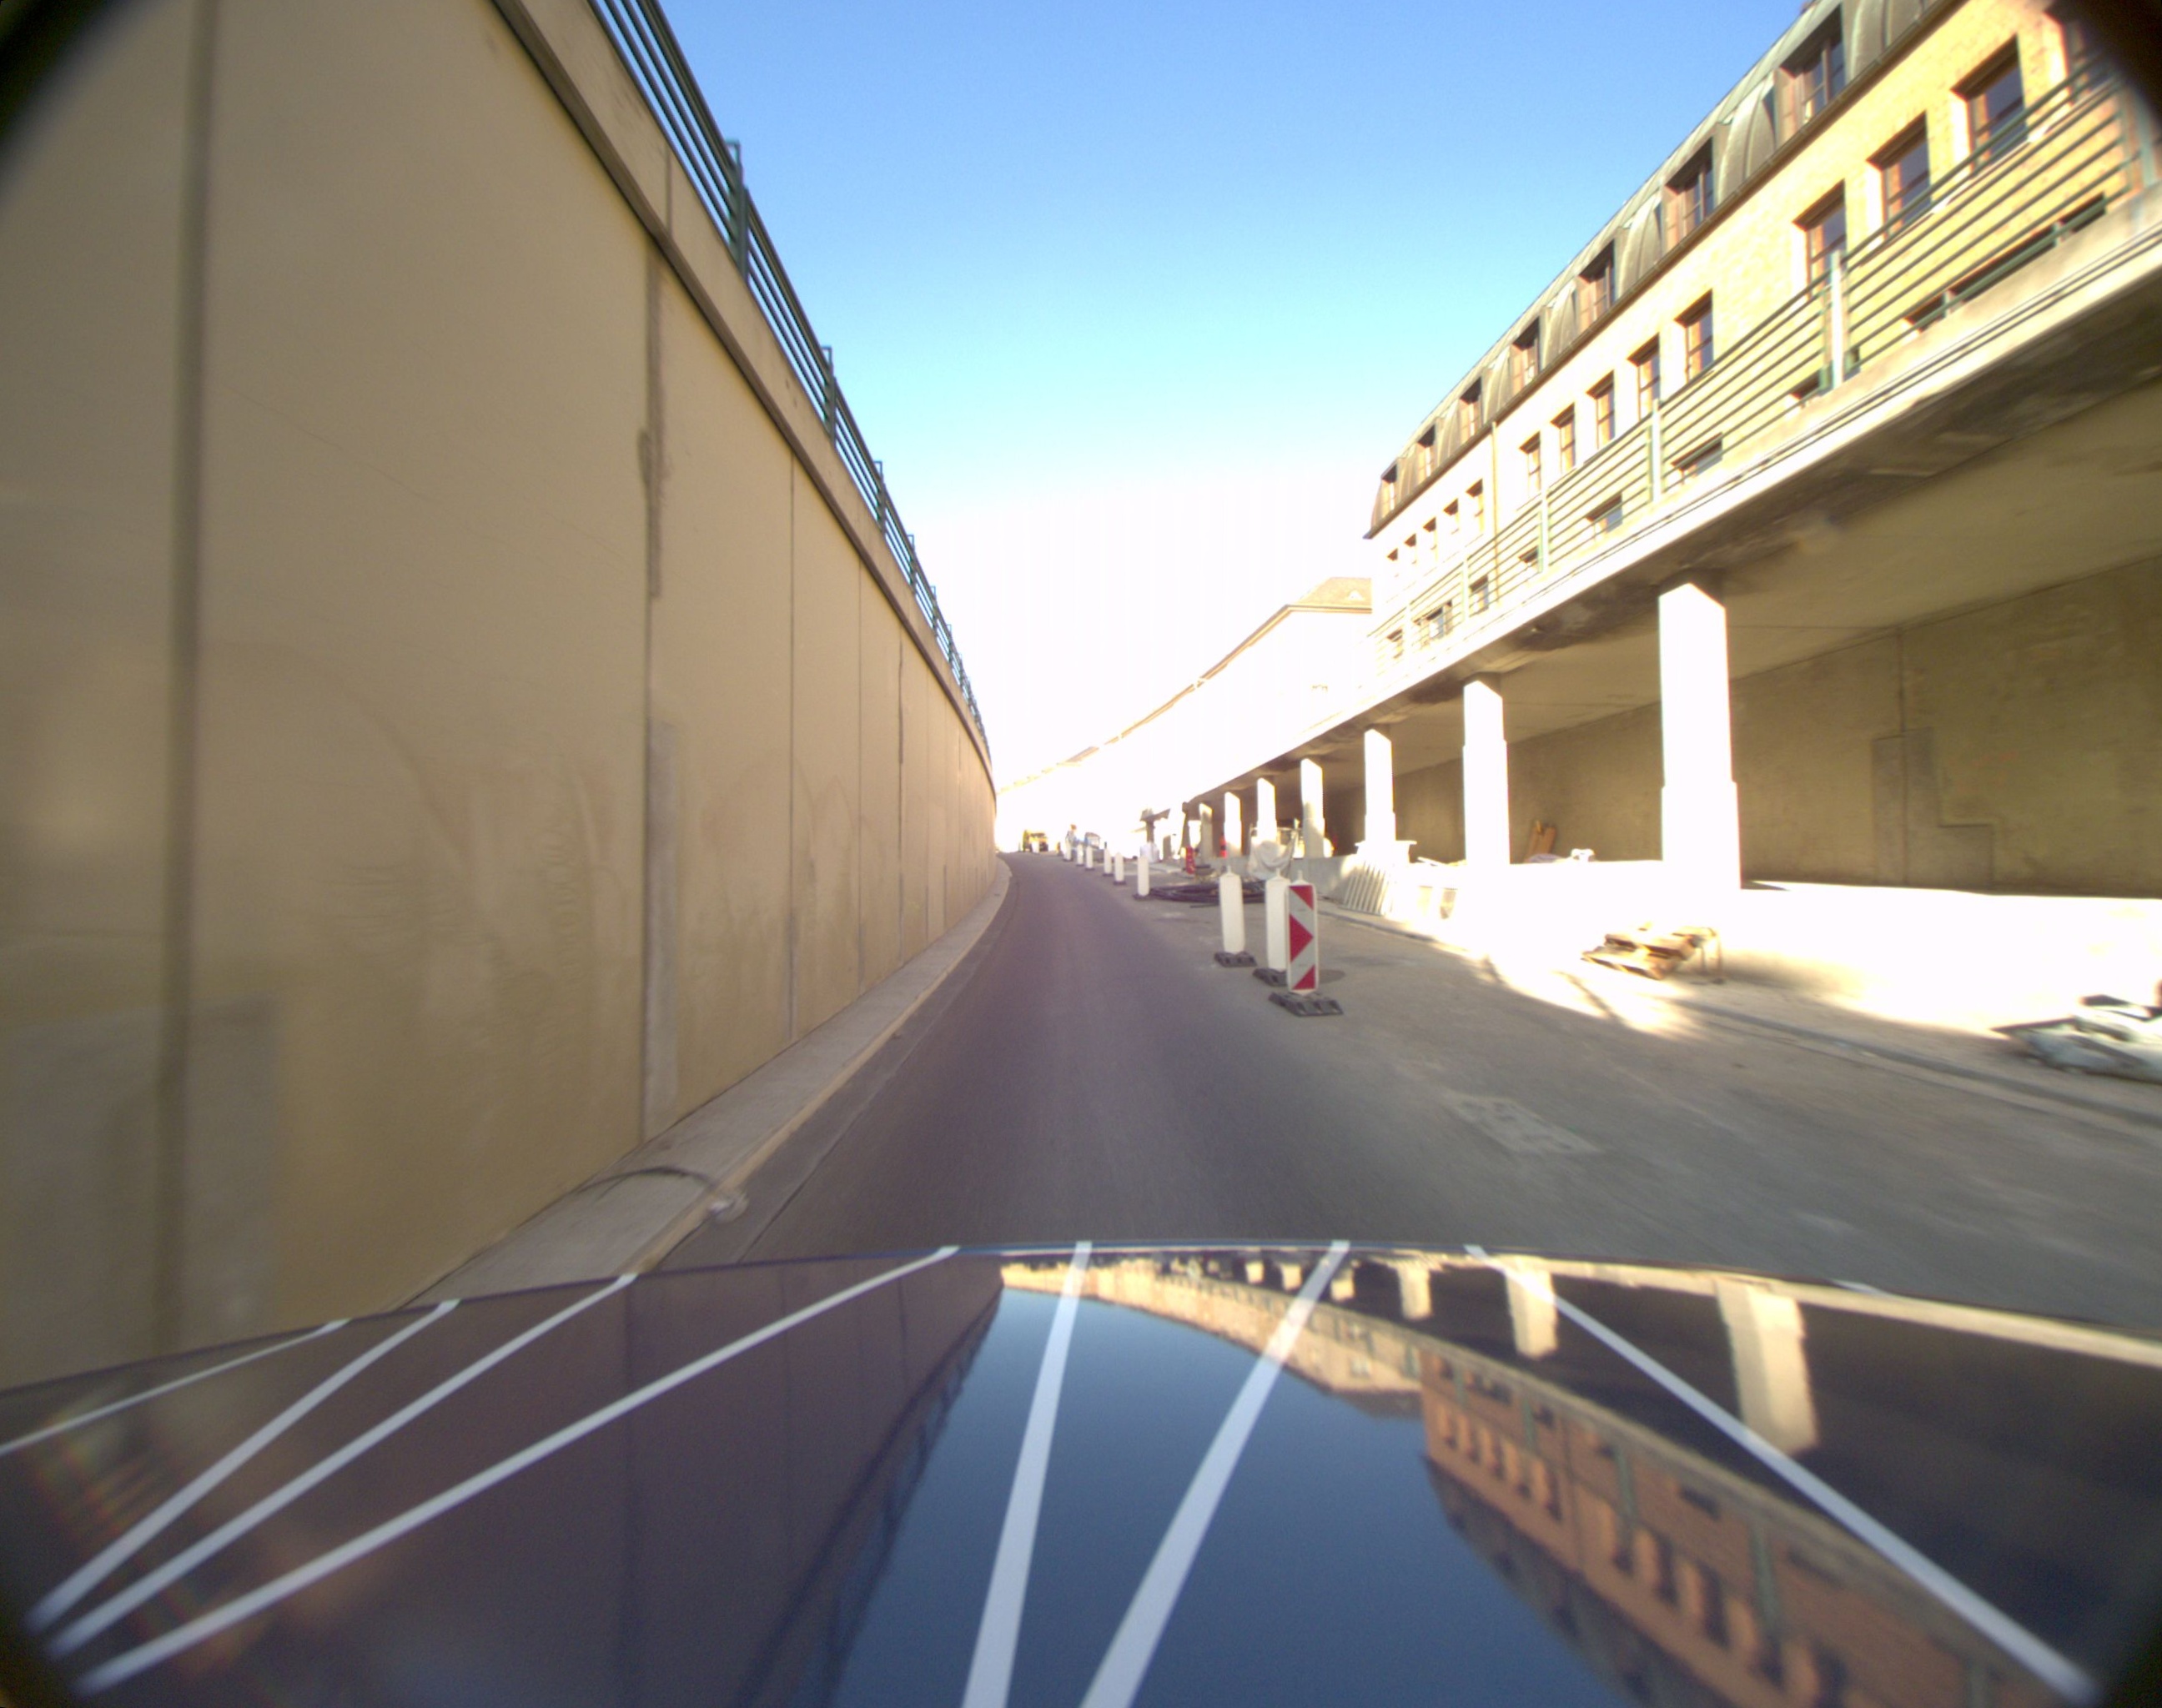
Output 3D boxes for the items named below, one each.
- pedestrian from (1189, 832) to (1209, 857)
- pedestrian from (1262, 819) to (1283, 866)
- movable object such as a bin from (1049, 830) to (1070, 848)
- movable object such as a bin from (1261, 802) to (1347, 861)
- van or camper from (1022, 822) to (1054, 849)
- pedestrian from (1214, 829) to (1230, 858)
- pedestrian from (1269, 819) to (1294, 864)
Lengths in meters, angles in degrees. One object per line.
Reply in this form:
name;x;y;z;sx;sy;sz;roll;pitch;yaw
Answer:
pedestrian;6.556;-0.528;42.170;0.874;1.390;0.782;-1;2;-14
pedestrian;7.544;-0.467;29.949;0.658;1.795;0.624;-2;2;3
movable object such as a bin;-3.061;-2.166;108.673;2.107;2.381;4.302;1;-1;-14
movable object such as a bin;8.037;-0.809;27.633;1.891;1.976;3.156;-2;1;-7
van or camper;-4.605;-1.938;81.055;2.201;2.598;6.815;-3;2;-12
pedestrian;7.763;-0.562;41.841;0.651;1.571;0.630;-1;2;-14
pedestrian;8.158;-0.520;30.897;0.706;1.804;0.709;-3;2;-7
